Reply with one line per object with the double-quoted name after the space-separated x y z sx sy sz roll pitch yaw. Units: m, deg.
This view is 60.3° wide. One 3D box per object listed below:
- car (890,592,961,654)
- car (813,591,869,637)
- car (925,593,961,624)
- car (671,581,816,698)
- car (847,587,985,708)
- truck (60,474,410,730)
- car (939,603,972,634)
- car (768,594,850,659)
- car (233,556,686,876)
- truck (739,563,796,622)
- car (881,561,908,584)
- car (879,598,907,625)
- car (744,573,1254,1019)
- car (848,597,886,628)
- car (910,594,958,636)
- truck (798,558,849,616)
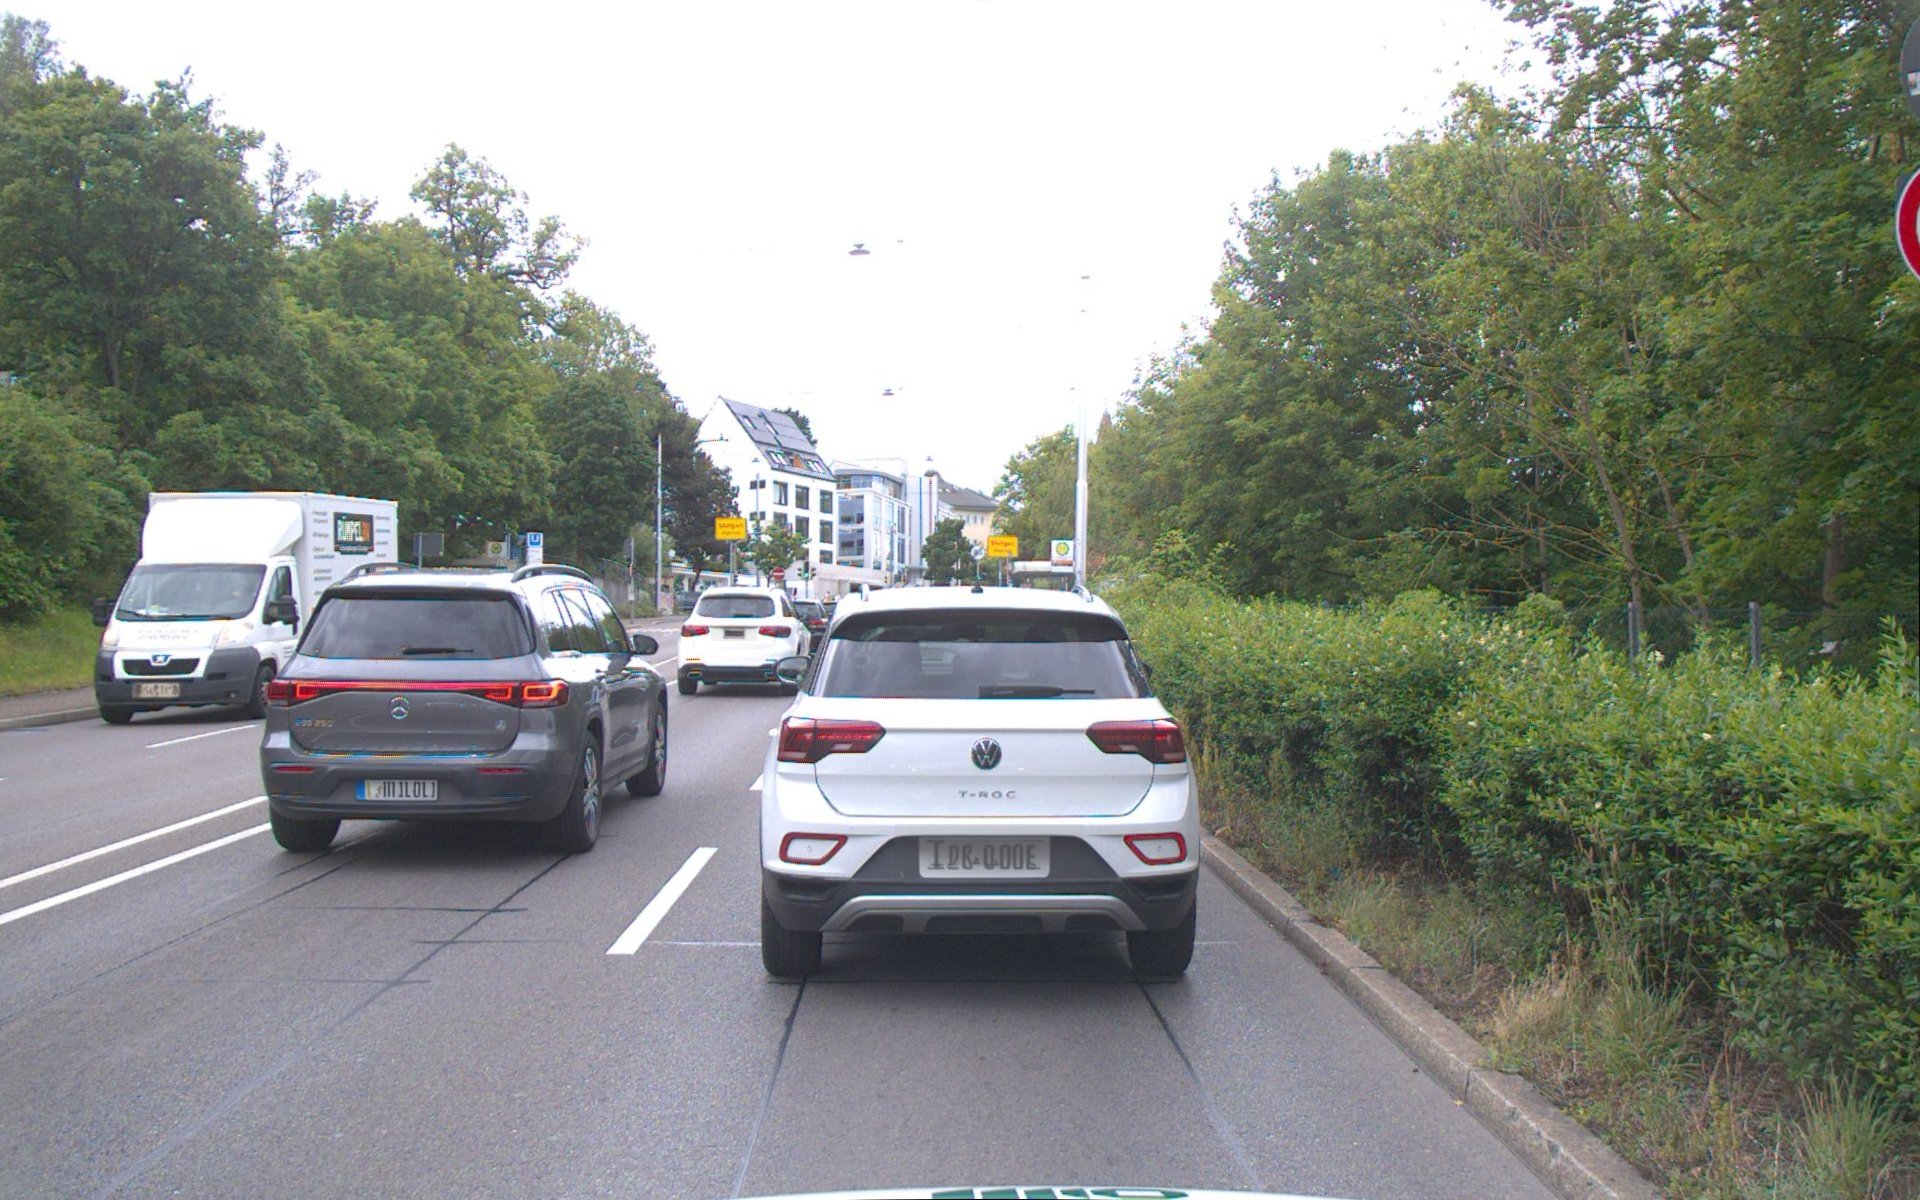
-0.930 0.573 44.157 1.792 1.552 3.999 -1 0 -2 "car"
-4.152 0.475 58.230 1.792 1.552 3.999 -1 0 -2 "car"
-0.934 0.433 86.692 1.792 1.552 3.999 -1 0 -2 "car"
-3.365 0.575 26.370 1.879 1.698 3.999 1 0 -2 "car"
-0.634 0.620 23.662 1.792 1.552 3.999 -1 0 -2 "car"
-10.080 0.032 23.852 2.247 3.104 6.975 -1 0 -3 "truck"
-0.316 1.227 110.394 1.954 2.004 3.998 -1 0 -3 "car"
-3.740 0.628 41.491 1.792 1.523 3.999 -1 0 -2 "car"
-2.997 0.607 10.902 1.812 1.680 4.355 0 0 -2 "car"
-9.331 -0.353 80.604 2.315 2.754 4.476 -1 0 -2 "truck"
-4.607 -1.906 116.414 1.792 1.552 3.999 -1 0 -2 "car"
-4.390 0.761 108.965 1.778 1.685 3.927 -1 0 -2 "car"
0.086 0.680 7.815 1.792 1.552 3.999 0 0 -2 "car"
-4.698 0.614 83.930 1.792 1.552 3.999 -1 0 -2 "car"
-1.033 0.558 64.218 1.792 1.552 3.999 -1 0 -2 "car"
-7.006 -0.649 85.173 2.315 2.830 4.476 -1 0 -2 "truck"
